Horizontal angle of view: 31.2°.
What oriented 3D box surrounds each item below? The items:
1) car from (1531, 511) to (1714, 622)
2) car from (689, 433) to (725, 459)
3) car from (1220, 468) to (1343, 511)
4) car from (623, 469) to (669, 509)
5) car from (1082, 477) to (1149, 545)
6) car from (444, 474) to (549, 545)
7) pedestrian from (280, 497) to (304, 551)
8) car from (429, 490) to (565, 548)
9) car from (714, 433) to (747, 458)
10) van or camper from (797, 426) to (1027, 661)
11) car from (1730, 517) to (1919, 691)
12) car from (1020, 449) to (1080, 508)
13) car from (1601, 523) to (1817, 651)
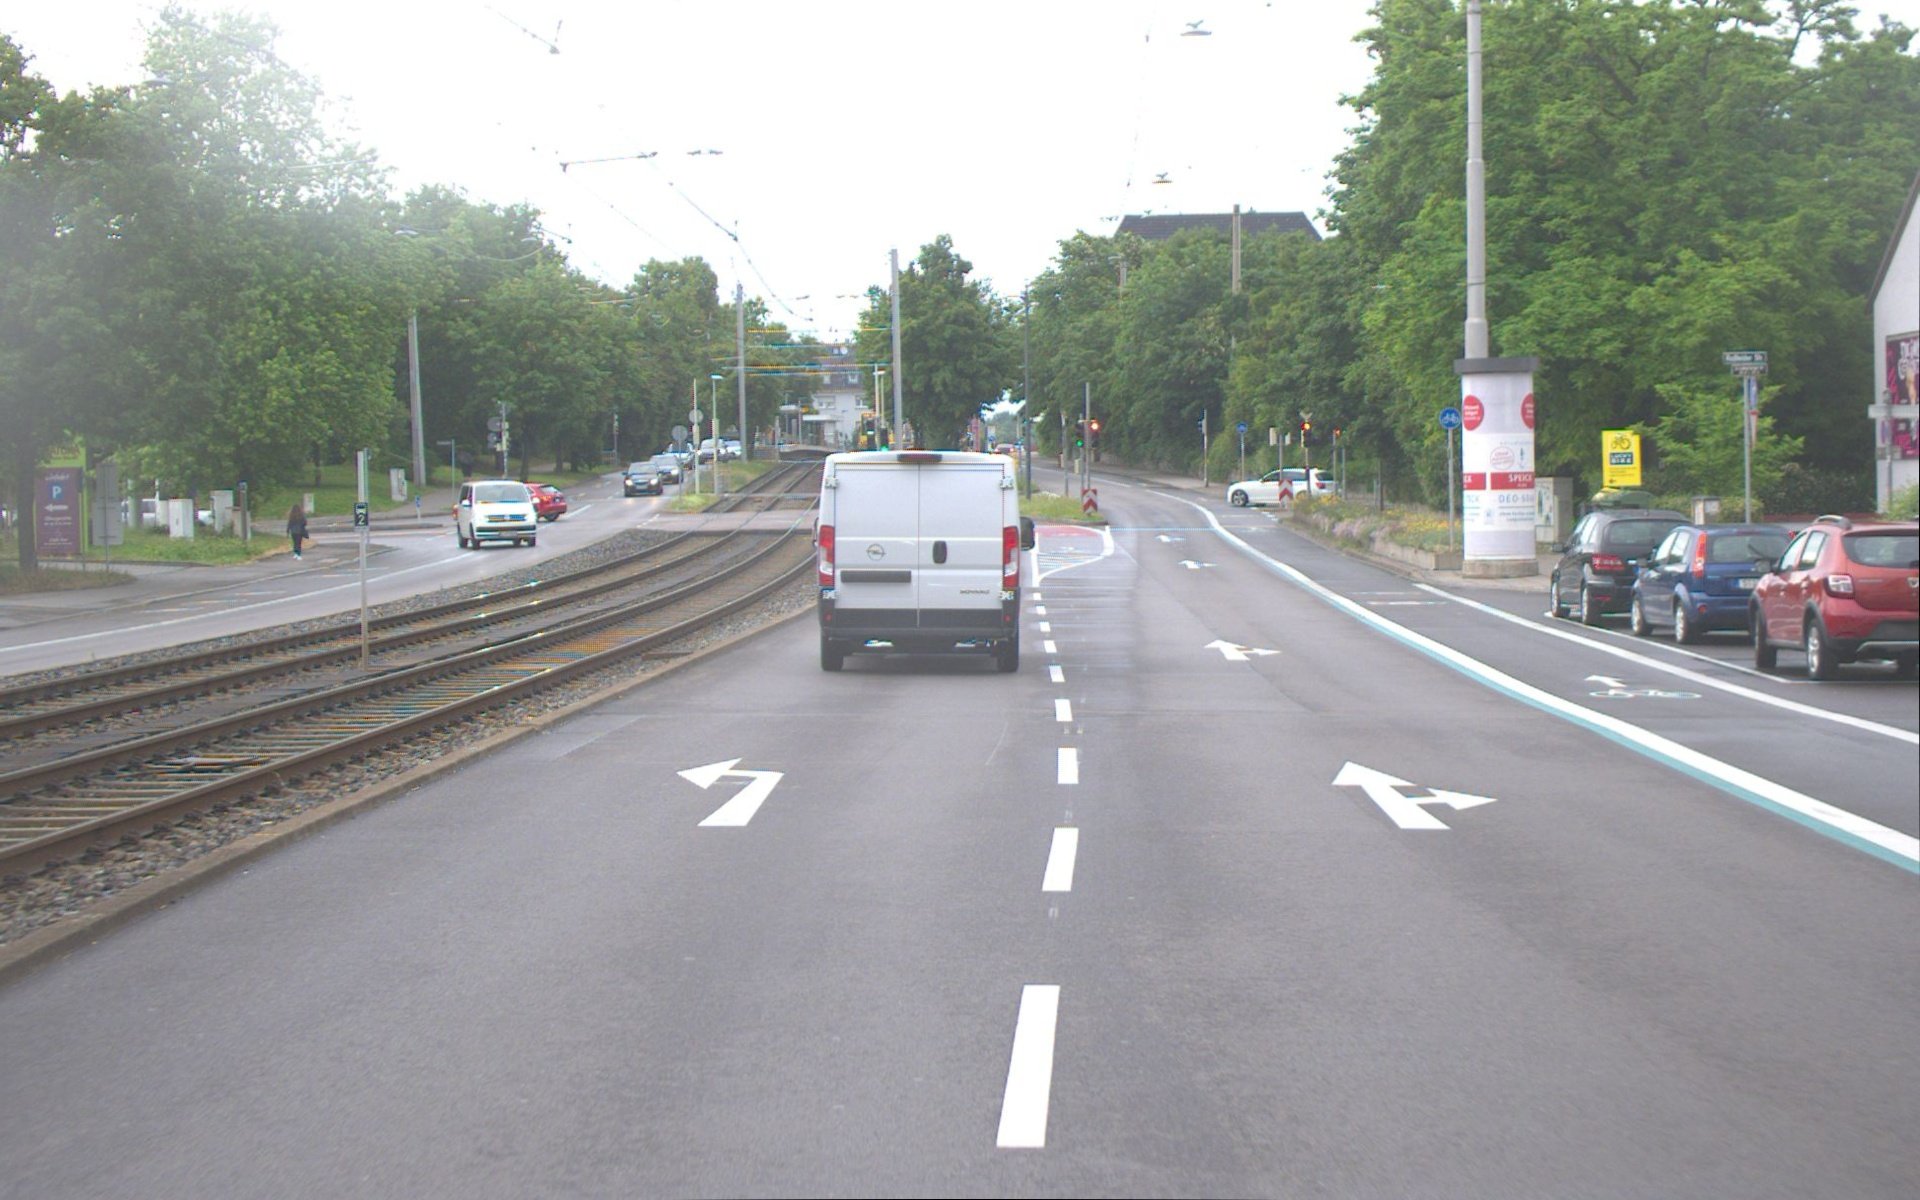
[{"bbox_3d":[9.279,-0.474,48.410,1.847,1.494,3.954,1,1,1],"label":"car"},{"bbox_3d":[-16.818,-10.232,228.632,1.993,1.645,4.000,-1,1,1],"label":"car"},{"bbox_3d":[11.829,-4.069,126.569,4.179,1.471,1.663,0,1,34],"label":"car"},{"bbox_3d":[-14.210,-5.016,155.516,1.690,1.706,3.777,1,0,0],"label":"car"},{"bbox_3d":[4.837,-2.753,107.432,1.993,2.007,4.000,1,0,2],"label":"car"},{"bbox_3d":[-13.798,-2.658,102.116,1.993,2.007,4.529,1,0,-22],"label":"car"},{"bbox_3d":[-18.333,-2.078,94.390,0.612,1.470,0.643,-1,1,-11],"label":"pedestrian"},{"bbox_3d":[-16.968,-2.967,126.010,4.516,2.007,1.999,1,0,15],"label":"car"},{"bbox_3d":[-16.448,-11.093,246.727,1.993,1.645,4.000,-1,1,1],"label":"car"},{"bbox_3d":[-0.518,-0.559,35.731,2.199,2.245,4.684,1,0,-1],"label":"van or camper"},{"bbox_3d":[9.176,-0.004,34.941,1.847,1.640,3.954,1,2,1],"label":"car"},{"bbox_3d":[3.275,-4.415,125.783,1.993,2.007,4.000,1,0,-1],"label":"car"},{"bbox_3d":[9.228,-0.174,42.654,1.847,1.494,3.954,1,1,1],"label":"car"}]
